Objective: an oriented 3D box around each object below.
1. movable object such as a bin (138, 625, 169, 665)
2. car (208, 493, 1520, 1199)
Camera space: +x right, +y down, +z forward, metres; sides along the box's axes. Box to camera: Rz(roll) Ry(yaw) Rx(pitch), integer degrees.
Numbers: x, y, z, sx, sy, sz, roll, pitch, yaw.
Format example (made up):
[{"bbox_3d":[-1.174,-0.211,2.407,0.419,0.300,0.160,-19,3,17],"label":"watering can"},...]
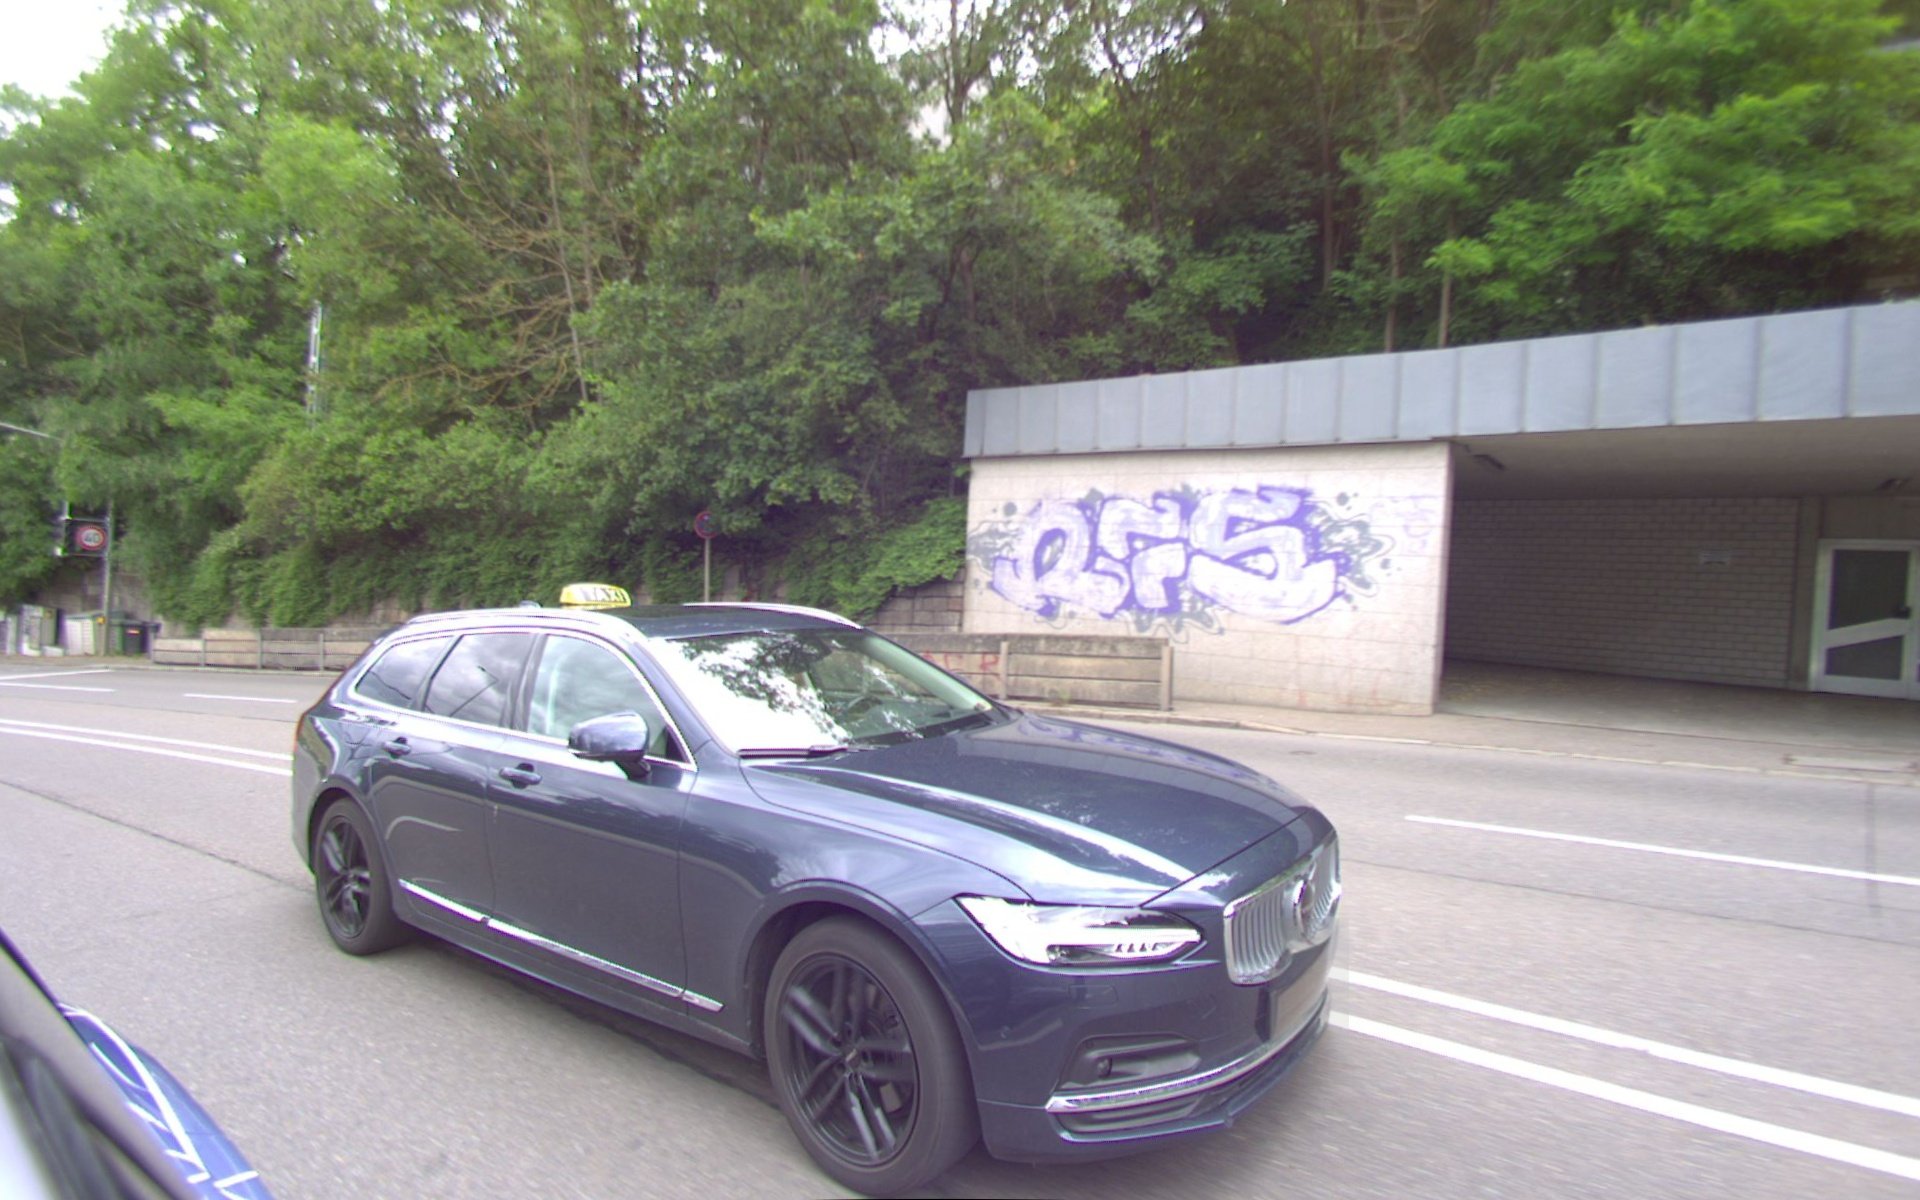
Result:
[{"bbox_3d":[-19.950,1.100,25.032,0.476,0.957,0.425,-1,1,26],"label":"movable object such as a bin"},{"bbox_3d":[-0.841,0.620,3.875,5.018,1.588,1.917,-1,1,37],"label":"car"}]
